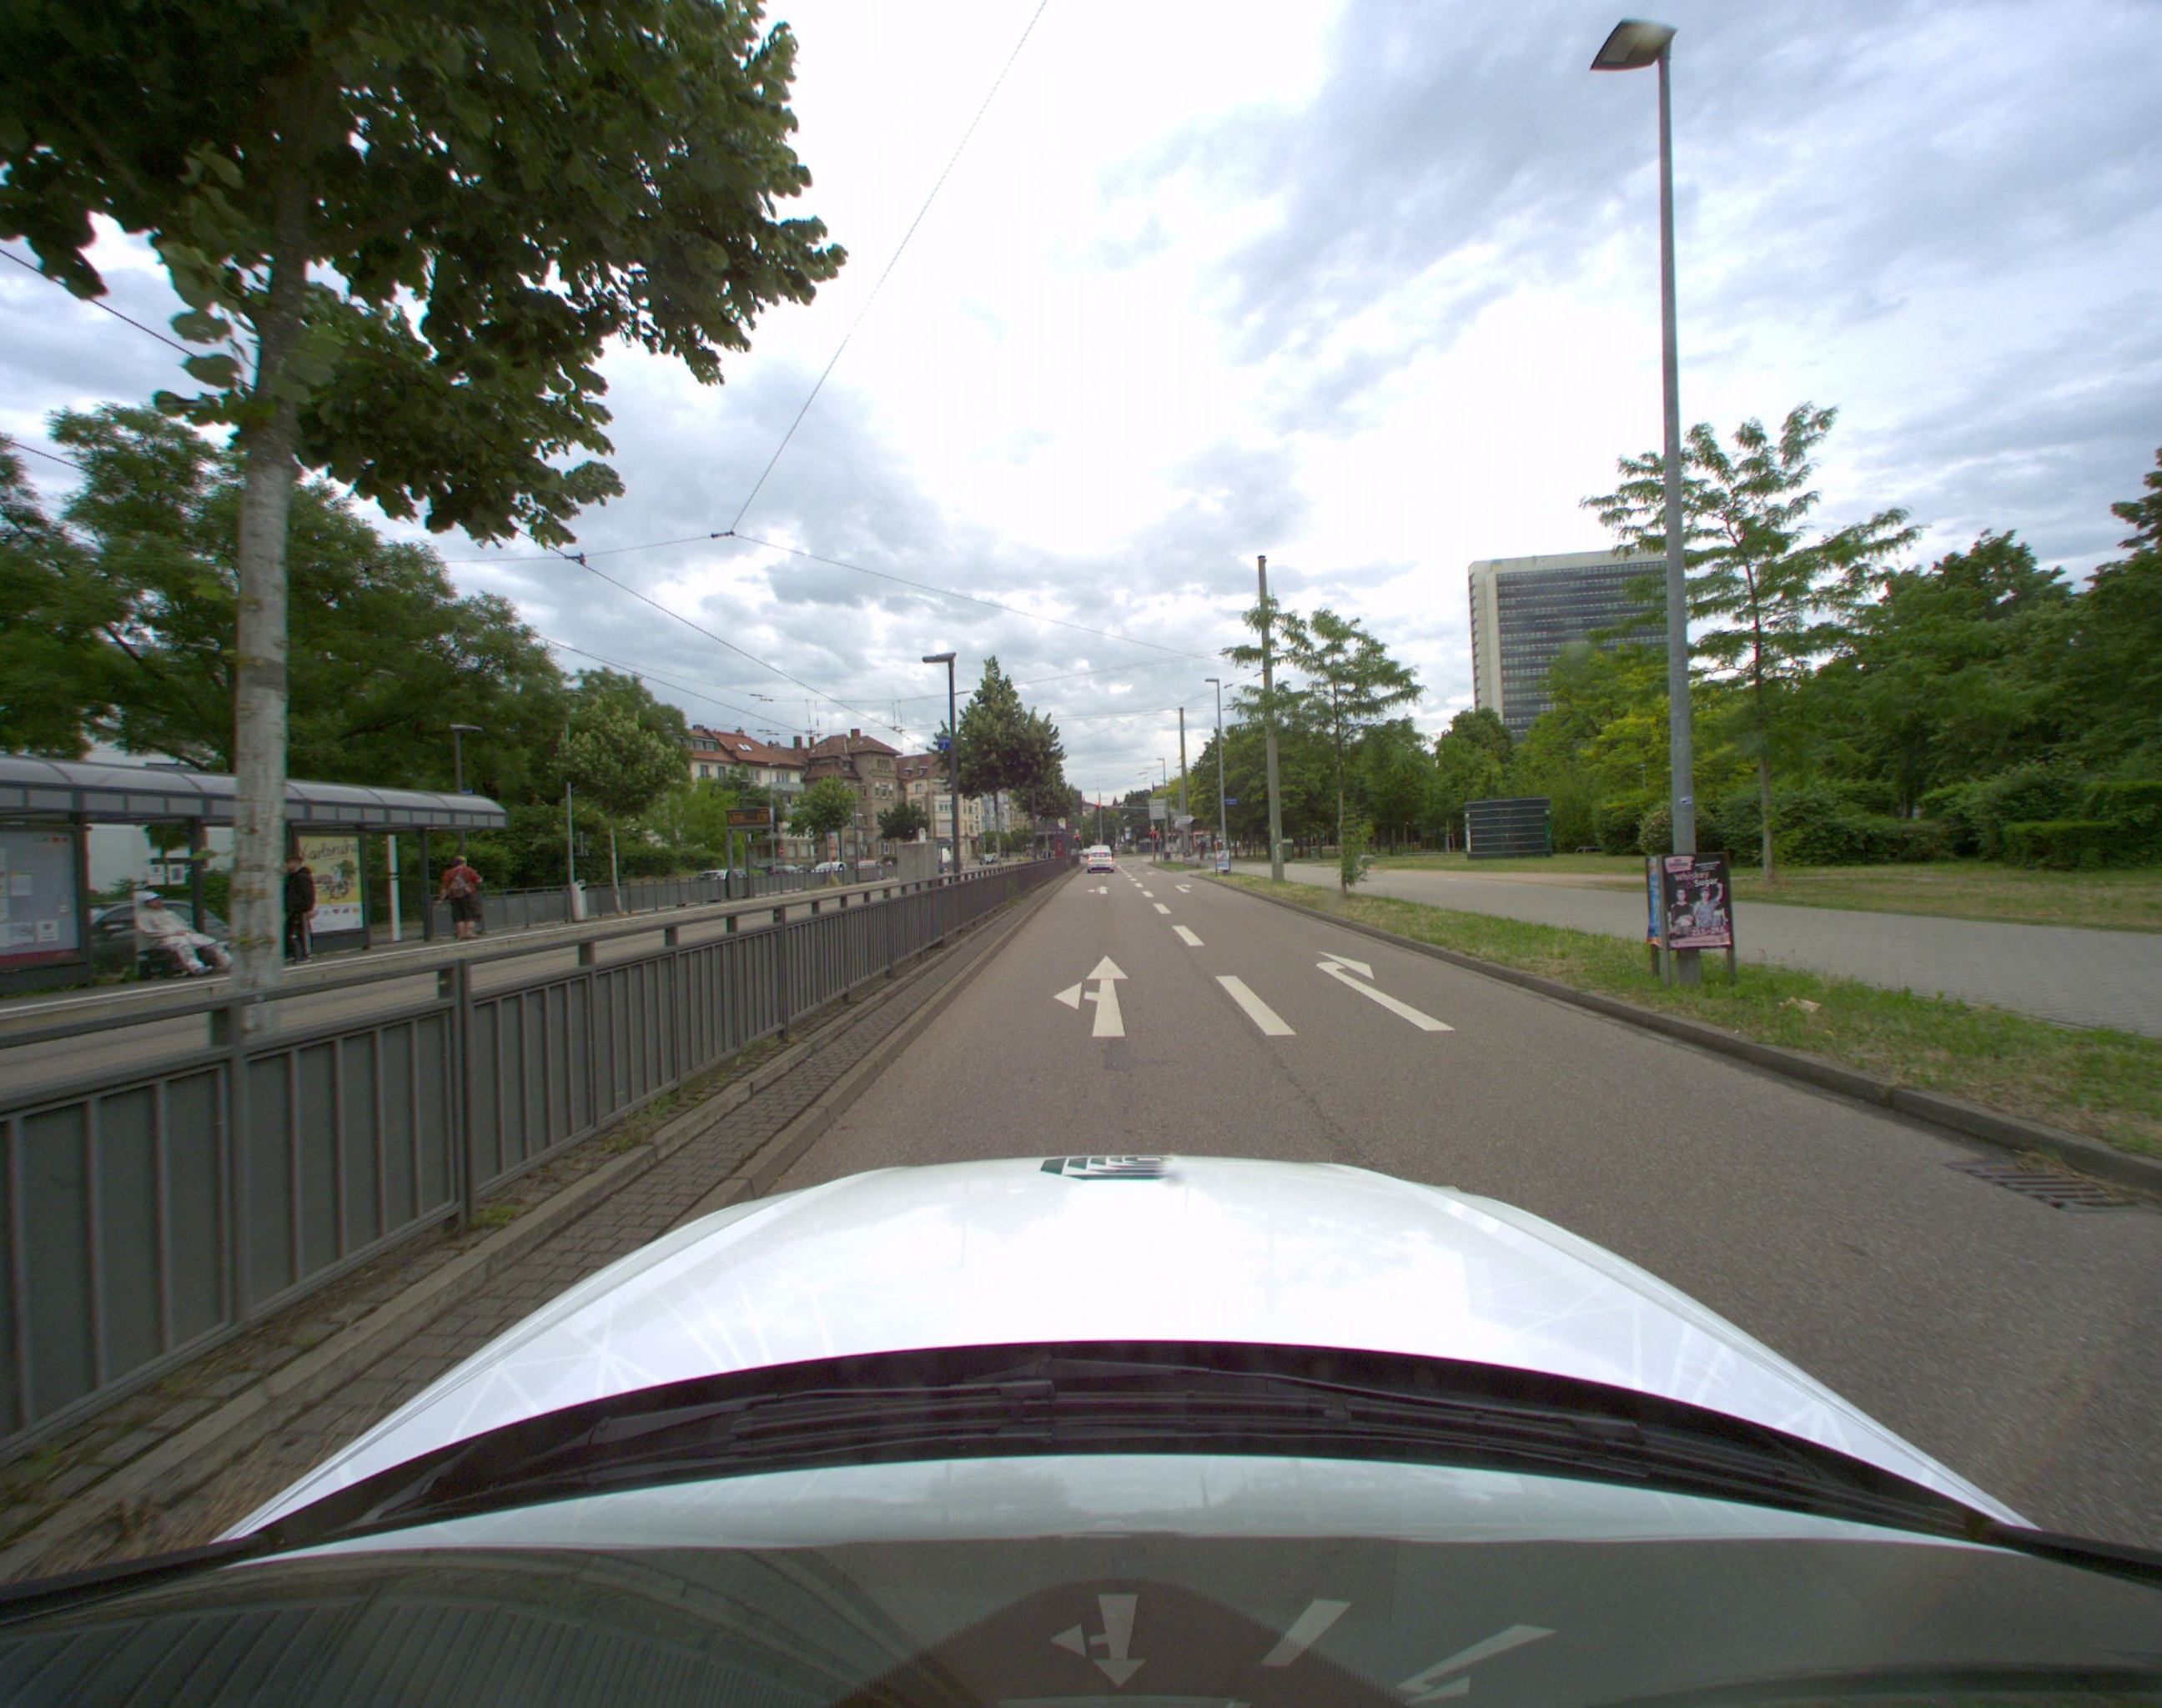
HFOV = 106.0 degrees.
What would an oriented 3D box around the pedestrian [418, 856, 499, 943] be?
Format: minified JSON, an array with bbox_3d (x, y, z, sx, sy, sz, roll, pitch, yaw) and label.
[{"bbox_3d":[-12.601,0.902,16.513,0.766,1.660,1.024,-3,0,-1],"label":"pedestrian"}]

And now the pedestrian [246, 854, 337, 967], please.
[{"bbox_3d":[-12.593,0.871,13.013,0.699,1.715,0.697,-3,0,-7],"label":"pedestrian"}]

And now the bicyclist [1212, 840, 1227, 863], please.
[{"bbox_3d":[8.733,-0.163,51.356,0.680,1.379,0.724,-3,0,-13],"label":"bicyclist"}]

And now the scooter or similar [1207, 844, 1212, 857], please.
[{"bbox_3d":[11.813,-0.312,74.875,0.373,1.141,1.204,-3,0,12],"label":"scooter or similar"}]

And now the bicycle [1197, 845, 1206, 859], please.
[{"bbox_3d":[10.581,-0.179,71.582,0.675,1.155,1.904,-3,0,11],"label":"bicycle"}]

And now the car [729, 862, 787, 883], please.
[{"bbox_3d":[-26.093,1.475,65.844,3.860,1.493,1.776,-3,0,1],"label":"car"}]

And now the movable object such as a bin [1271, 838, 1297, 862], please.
[{"bbox_3d":[12.122,-0.230,48.632,1.277,1.390,1.160,-3,0,2],"label":"movable object such as a bin"}]

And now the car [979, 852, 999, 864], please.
[{"bbox_3d":[-12.721,0.524,112.296,1.760,1.493,3.895,-3,0,8],"label":"car"}]

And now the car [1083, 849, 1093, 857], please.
[{"bbox_3d":[1.409,-0.204,167.104,1.762,1.683,3.892,-3,0,5],"label":"car"}]

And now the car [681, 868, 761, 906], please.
[{"bbox_3d":[-16.393,1.462,37.274,1.763,1.493,3.888,-3,0,1],"label":"car"}]

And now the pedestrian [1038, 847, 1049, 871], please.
[{"bbox_3d":[-2.339,0.299,50.902,0.574,1.481,0.617,-3,0,-1],"label":"pedestrian"}]

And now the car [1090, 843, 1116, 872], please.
[{"bbox_3d":[1.606,0.221,60.595,1.776,1.962,4.383,-2,0,1],"label":"car"}]

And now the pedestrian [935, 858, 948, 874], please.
[{"bbox_3d":[-11.487,0.986,67.034,0.862,1.267,0.693,-3,0,-1],"label":"pedestrian"}]

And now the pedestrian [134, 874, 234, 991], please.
[{"bbox_3d":[-13.175,1.126,11.978,0.630,1.624,0.680,-3,0,-1],"label":"pedestrian"}]

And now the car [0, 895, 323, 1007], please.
[{"bbox_3d":[-16.432,1.626,14.689,1.763,1.493,3.888,-3,0,1],"label":"car"}]

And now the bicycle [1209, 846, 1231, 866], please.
[{"bbox_3d":[8.761,0.122,51.337,0.680,1.155,1.890,-3,0,-12],"label":"bicycle"}]

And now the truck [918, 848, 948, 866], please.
[{"bbox_3d":[-17.539,0.358,96.951,1.778,2.032,5.408,-3,0,8],"label":"truck"}]

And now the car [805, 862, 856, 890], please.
[{"bbox_3d":[-15.328,1.319,50.099,1.763,1.493,3.888,-3,0,1],"label":"car"}]

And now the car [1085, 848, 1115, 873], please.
[{"bbox_3d":[1.295,0.389,53.347,1.775,1.472,4.013,-2,0,3],"label":"car"}]
